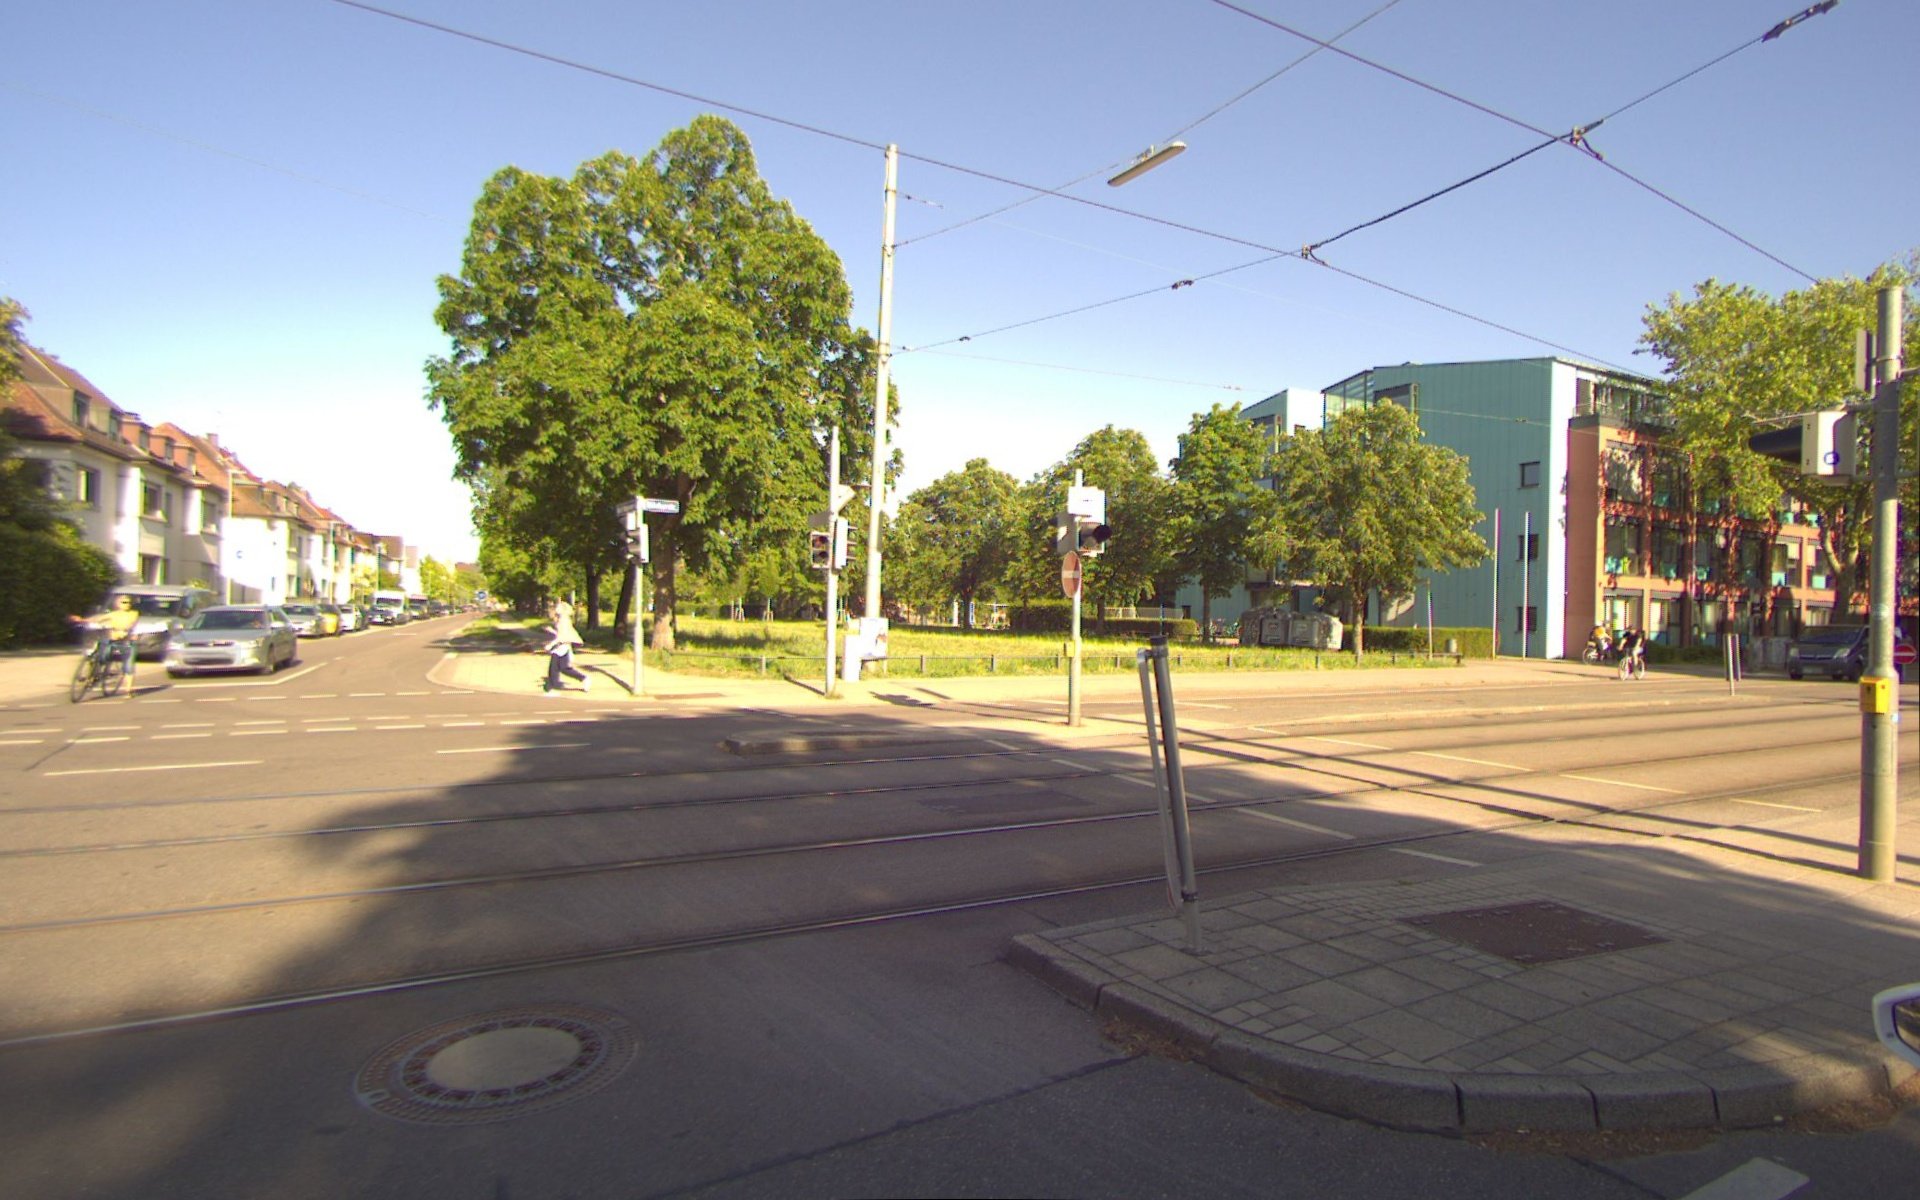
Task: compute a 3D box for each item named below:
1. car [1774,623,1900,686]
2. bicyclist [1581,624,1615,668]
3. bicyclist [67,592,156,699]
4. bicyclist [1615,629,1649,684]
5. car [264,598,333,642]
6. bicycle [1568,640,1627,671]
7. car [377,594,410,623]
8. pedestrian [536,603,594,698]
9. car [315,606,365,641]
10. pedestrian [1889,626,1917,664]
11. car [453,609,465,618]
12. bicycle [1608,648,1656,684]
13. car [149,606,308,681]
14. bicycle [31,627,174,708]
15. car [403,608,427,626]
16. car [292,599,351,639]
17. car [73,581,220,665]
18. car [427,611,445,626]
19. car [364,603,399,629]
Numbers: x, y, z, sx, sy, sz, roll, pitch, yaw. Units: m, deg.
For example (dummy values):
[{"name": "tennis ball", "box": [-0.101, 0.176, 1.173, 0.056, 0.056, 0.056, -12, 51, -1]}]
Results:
[{"name": "car", "box": [31.065, 1.856, 35.537, 5.194, 2.040, 2.008, 0, -2, -33]}, {"name": "bicyclist", "box": [25.697, 1.855, 40.439, 0.914, 1.715, 0.606, 2, 1, -3]}, {"name": "bicyclist", "box": [-13.395, 0.717, 15.880, 0.884, 1.644, 0.557, 1, -1, -20]}, {"name": "bicyclist", "box": [21.858, 1.824, 32.666, 0.891, 1.733, 0.584, 1, -1, -31]}, {"name": "car", "box": [-27.770, 0.819, 42.299, 1.792, 1.766, 4.175, 1, -1, -25]}, {"name": "bicycle", "box": [25.664, 2.239, 40.448, 1.996, 1.144, 0.633, 2, 1, -3]}, {"name": "car", "box": [-42.856, 0.630, 76.097, 1.792, 2.122, 4.157, 1, -1, -25]}, {"name": "pedestrian", "box": [-6.801, 0.855, 17.293, 0.665, 1.578, 0.624, 2, 1, 14]}, {"name": "car", "box": [-33.080, 1.242, 53.708, 1.792, 1.766, 3.863, 1, -1, -25]}, {"name": "pedestrian", "box": [51.059, 2.427, 54.407, 0.773, 2.041, 0.904, 1, 2, -36]}, {"name": "car", "box": [-91.852, 2.464, 184.298, 1.792, 1.766, 3.863, 1, -1, -25]}, {"name": "bicycle", "box": [21.872, 2.125, 32.662, 1.805, 1.128, 0.584, 1, -2, -31]}, {"name": "car", "box": [-15.632, 0.875, 21.704, 1.790, 1.452, 3.980, 1, -1, -22]}, {"name": "bicycle", "box": [-13.338, 1.016, 15.727, 0.916, 1.132, 2.277, 1, -1, -20]}, {"name": "car", "box": [-53.435, 1.654, 98.535, 1.792, 1.766, 3.863, 1, -1, -25]}, {"name": "car", "box": [-29.705, 0.876, 46.822, 1.792, 1.766, 3.863, 2, -1, -25]}, {"name": "car", "box": [-19.979, 0.541, 24.889, 1.792, 1.892, 4.288, 1, -1, -25]}, {"name": "car", "box": [-67.366, 2.370, 129.170, 1.792, 1.766, 3.863, 1, -1, -25]}, {"name": "car", "box": [-40.519, 1.096, 70.439, 1.792, 1.766, 3.863, 1, -1, -25]}]
